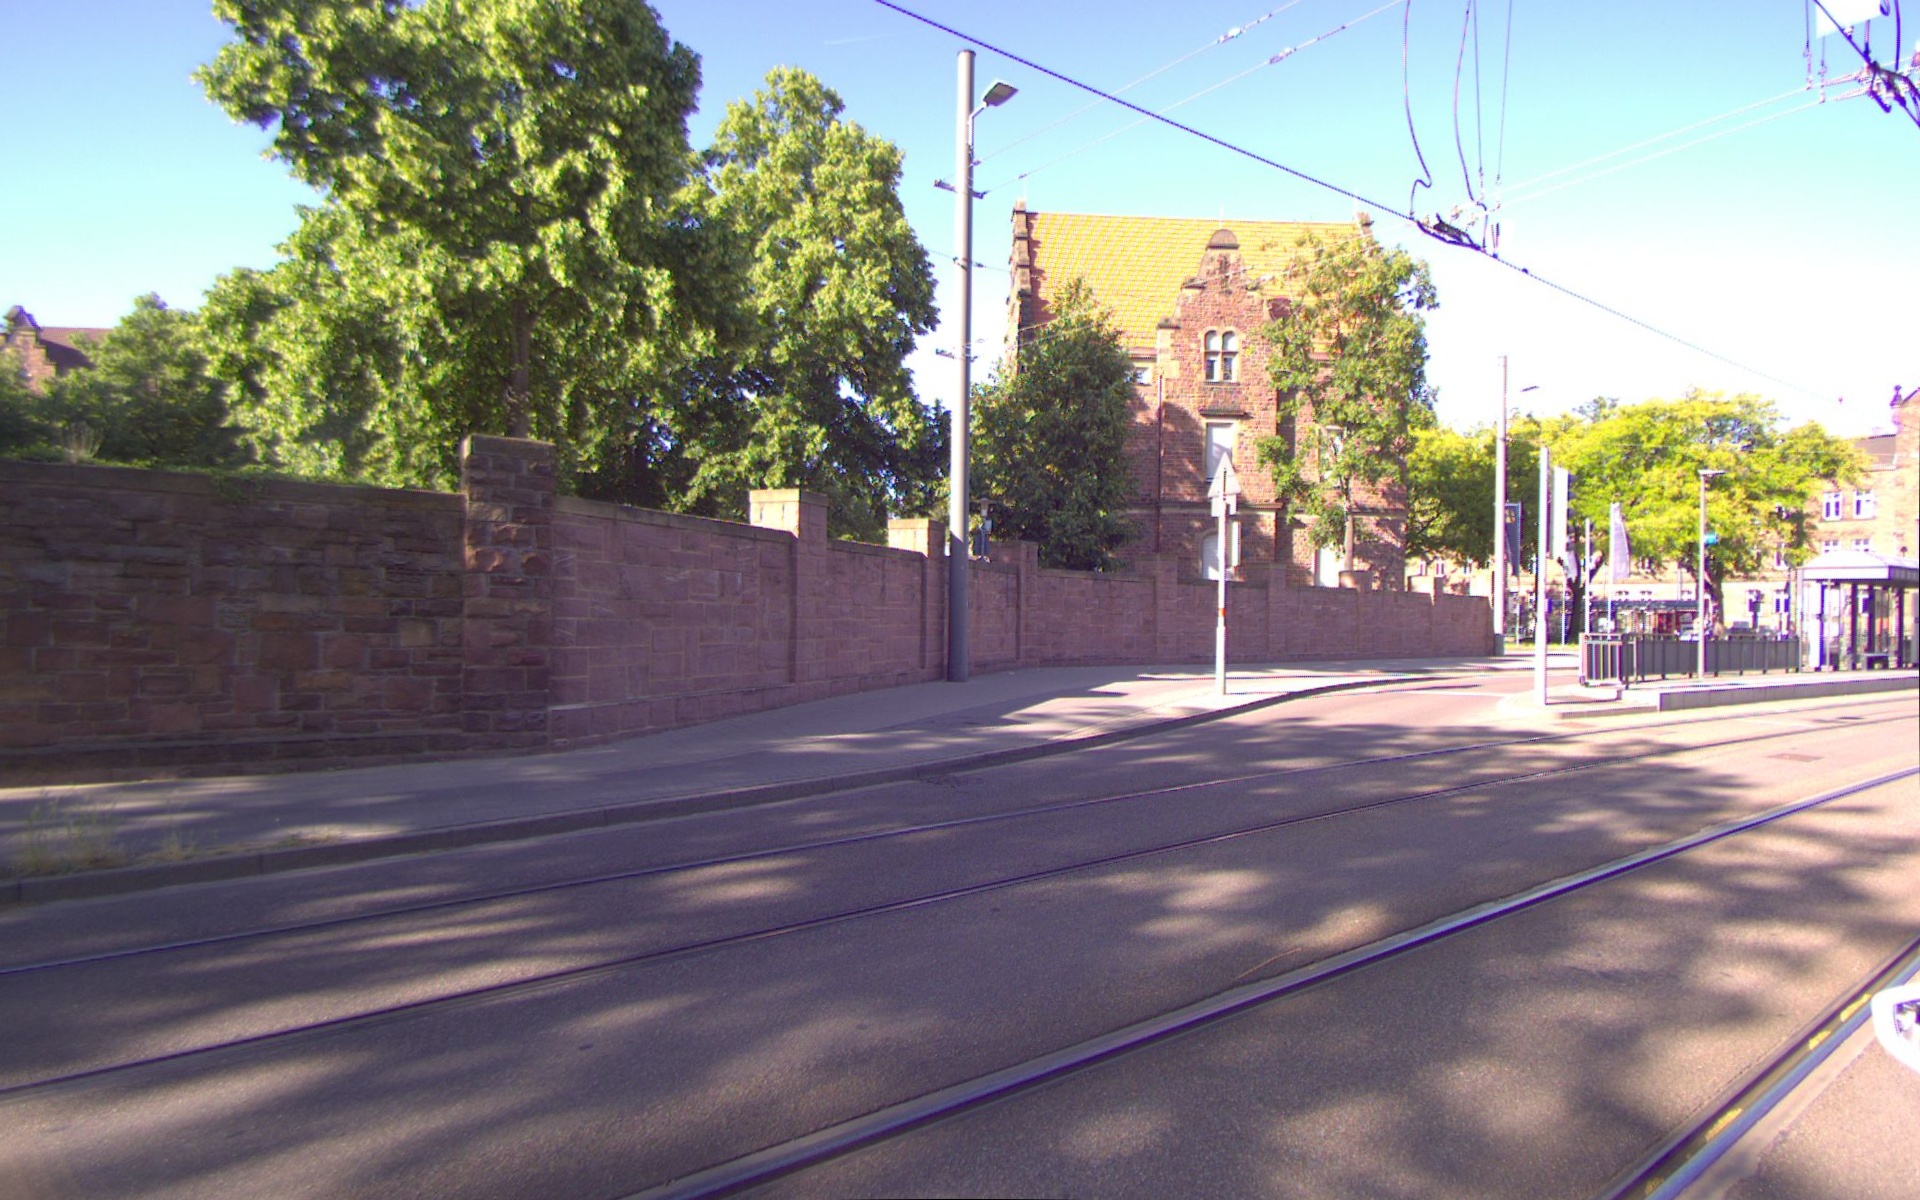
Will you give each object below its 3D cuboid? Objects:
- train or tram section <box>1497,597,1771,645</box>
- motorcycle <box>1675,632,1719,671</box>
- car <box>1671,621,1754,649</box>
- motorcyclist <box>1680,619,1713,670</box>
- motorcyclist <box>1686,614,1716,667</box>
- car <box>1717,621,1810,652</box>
[{"bbox_3d":[50.035,1.470,75.884,3.312,3.196,17.280,2,-1,-33],"label":"train or tram section"},{"bbox_3d":[21.685,1.496,29.555,1.841,1.108,0.604,1,0,-39],"label":"motorcycle"},{"bbox_3d":[49.184,2.252,65.680,1.798,1.651,3.964,2,0,-32],"label":"car"},{"bbox_3d":[21.638,1.307,29.507,0.442,1.460,0.678,1,0,-39],"label":"motorcyclist"},{"bbox_3d":[21.995,1.205,29.808,0.462,1.536,0.602,1,0,-39],"label":"motorcyclist"},{"bbox_3d":[47.759,2.169,59.796,1.798,1.651,3.964,2,0,-32],"label":"car"}]
